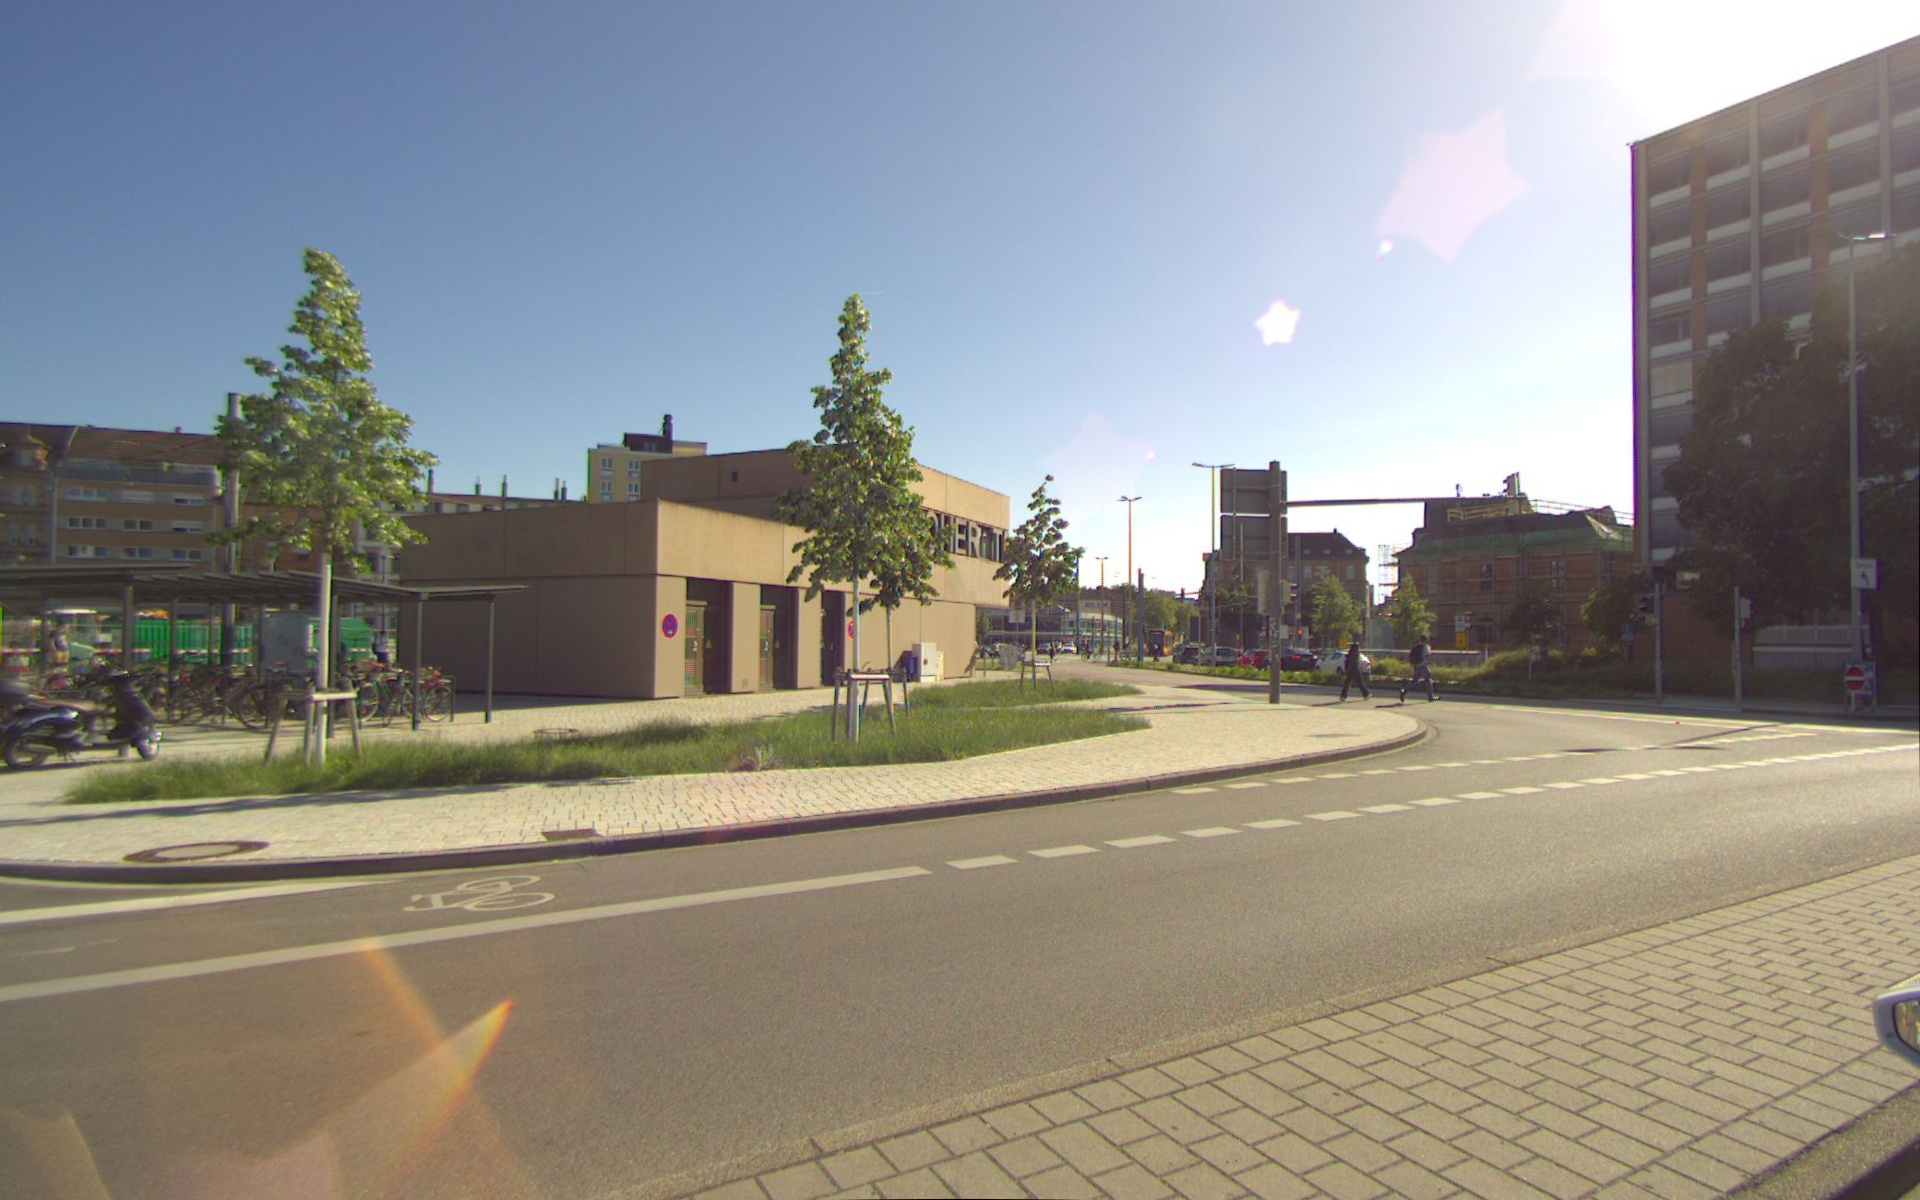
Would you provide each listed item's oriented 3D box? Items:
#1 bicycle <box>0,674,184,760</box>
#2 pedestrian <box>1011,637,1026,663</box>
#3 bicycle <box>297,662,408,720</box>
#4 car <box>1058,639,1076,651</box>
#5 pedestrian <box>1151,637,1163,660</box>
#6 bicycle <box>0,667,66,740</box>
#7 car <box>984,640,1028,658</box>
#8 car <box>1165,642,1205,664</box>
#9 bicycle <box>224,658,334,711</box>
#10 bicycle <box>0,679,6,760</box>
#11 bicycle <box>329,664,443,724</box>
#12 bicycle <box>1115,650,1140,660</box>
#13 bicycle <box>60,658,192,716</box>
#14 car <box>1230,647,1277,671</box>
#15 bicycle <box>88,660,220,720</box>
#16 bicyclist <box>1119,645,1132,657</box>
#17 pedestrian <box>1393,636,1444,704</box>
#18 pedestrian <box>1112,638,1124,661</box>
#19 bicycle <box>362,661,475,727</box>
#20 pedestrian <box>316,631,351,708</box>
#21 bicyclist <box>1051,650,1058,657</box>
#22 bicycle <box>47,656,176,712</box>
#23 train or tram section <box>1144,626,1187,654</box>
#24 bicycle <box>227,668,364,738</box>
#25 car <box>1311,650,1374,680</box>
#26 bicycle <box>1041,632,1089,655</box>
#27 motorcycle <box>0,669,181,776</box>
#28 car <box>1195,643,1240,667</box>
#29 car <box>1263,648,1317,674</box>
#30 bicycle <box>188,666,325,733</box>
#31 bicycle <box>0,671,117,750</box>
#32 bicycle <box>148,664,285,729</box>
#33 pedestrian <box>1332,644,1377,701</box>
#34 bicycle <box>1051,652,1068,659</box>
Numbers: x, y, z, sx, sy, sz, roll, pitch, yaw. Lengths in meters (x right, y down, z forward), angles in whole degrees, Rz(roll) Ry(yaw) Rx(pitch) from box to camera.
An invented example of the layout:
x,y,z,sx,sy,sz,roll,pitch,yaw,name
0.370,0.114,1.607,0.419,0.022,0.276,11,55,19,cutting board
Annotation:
x,y,z,sx,sy,sz,roll,pitch,yaw,name
-11.817,1.556,13.724,0.449,1.022,1.902,0,-2,26,bicycle
4.755,4.051,81.465,1.023,2.040,0.724,1,-2,-9,pedestrian
-11.800,1.744,19.577,0.449,1.022,1.902,0,-2,26,bicycle
15.088,6.382,141.481,1.709,1.672,4.002,0,-2,17,car
16.394,4.005,83.586,0.861,1.889,0.731,1,-2,-4,pedestrian
-14.162,1.508,14.446,0.449,1.022,1.902,0,-2,26,bicycle
5.088,5.439,111.536,4.460,1.870,2.067,2,-2,-28,car
16.774,3.932,74.999,1.760,1.528,3.880,1,-2,-6,car
-14.076,1.729,20.829,0.449,1.022,1.902,0,-2,26,bicycle
-12.748,1.485,12.004,0.449,1.022,1.902,0,-2,26,bicycle
-10.710,1.734,18.820,0.449,1.022,1.902,0,-2,26,bicycle
16.584,5.446,99.466,2.207,0.894,0.892,1,-2,-19,bicycle
-15.920,1.644,19.240,0.449,1.022,1.902,0,-2,26,bicycle
20.204,4.034,69.252,1.760,1.528,3.880,1,-2,-6,car
-15.084,1.656,18.865,0.449,1.022,1.902,0,-2,26,bicycle
16.371,5.059,99.396,0.953,1.182,0.892,1,-2,-19,bicyclist
12.027,1.830,26.372,1.044,1.753,0.652,1,-2,-16,pedestrian
13.224,4.150,84.038,0.862,1.889,0.730,1,-2,-9,pedestrian
-9.930,1.697,18.491,0.449,1.112,1.902,0,-2,26,bicycle
-16.966,1.866,27.210,0.710,2.040,0.682,1,-2,-30,pedestrian
7.961,4.489,84.697,0.560,0.556,0.431,0,-2,11,bicyclist
-16.703,1.639,19.839,0.449,1.022,1.902,0,-2,26,bicycle
26.756,5.114,130.349,2.651,3.275,10.589,2,0,27,train or tram section
-10.913,1.663,16.570,0.449,1.022,1.902,0,-2,26,bicycle
21.247,3.596,55.936,1.760,1.528,3.880,1,-2,-6,car
9.623,3.953,92.034,3.922,2.040,2.000,0,-2,22,bicycle
-10.923,1.475,12.470,0.508,1.166,1.947,0,-2,25,motorcycle
17.456,3.696,68.273,1.760,1.528,3.880,1,-2,-6,car
20.574,3.769,62.792,1.760,1.528,3.880,1,-2,-6,car
-11.892,1.652,17.060,0.449,1.022,1.902,0,-2,26,bicycle
-13.032,1.537,14.015,0.449,1.022,1.902,0,-2,26,bicycle
-12.902,1.649,17.490,0.449,1.022,1.902,0,-2,26,bicycle
10.916,1.995,27.784,0.964,1.547,0.652,1,-2,-16,pedestrian
8.358,4.659,84.613,1.381,0.556,0.435,0,-2,11,bicycle
